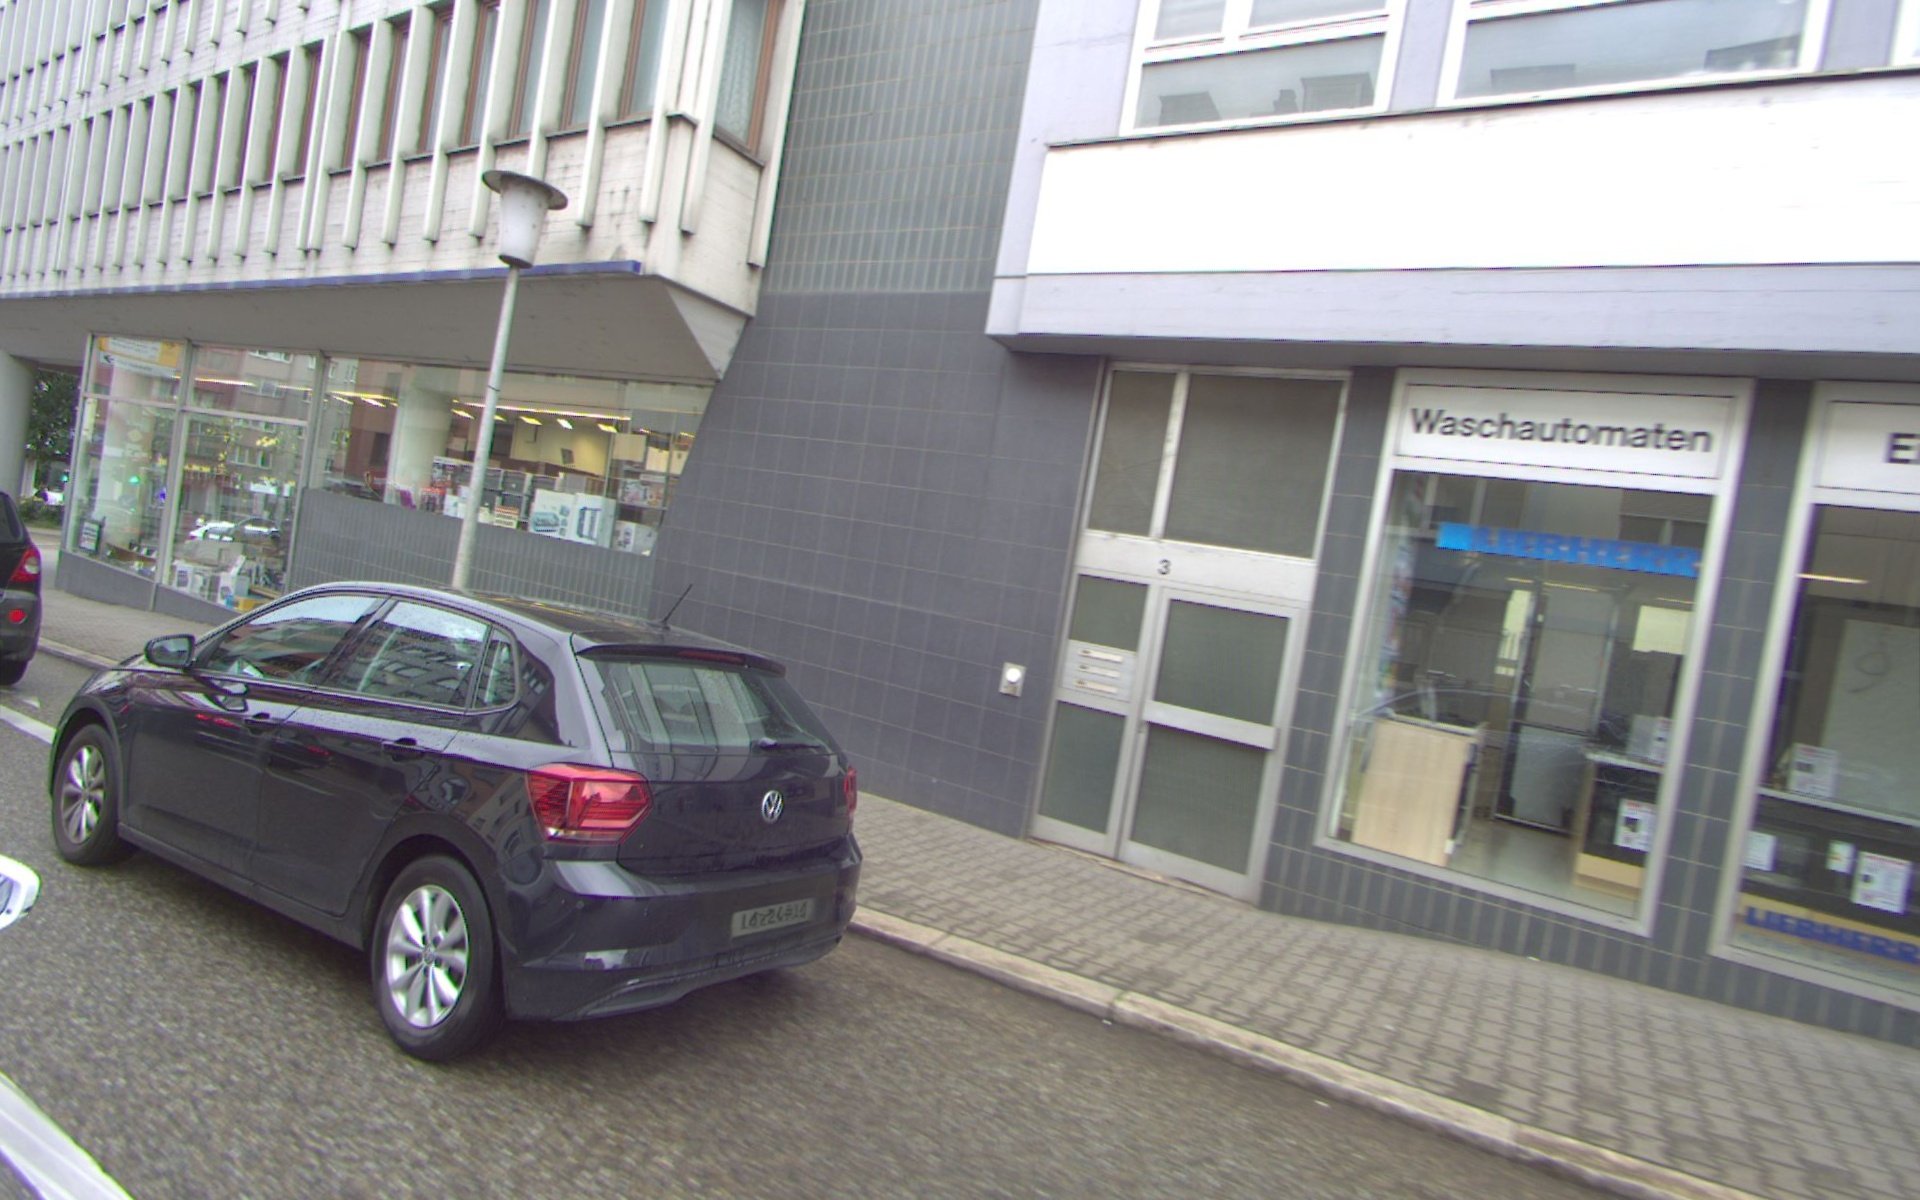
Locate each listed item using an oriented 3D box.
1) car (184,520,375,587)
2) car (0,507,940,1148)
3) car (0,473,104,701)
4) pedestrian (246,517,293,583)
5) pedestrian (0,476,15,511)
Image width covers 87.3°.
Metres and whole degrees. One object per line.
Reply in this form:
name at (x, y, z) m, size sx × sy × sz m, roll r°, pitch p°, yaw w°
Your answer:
car at (-22.392, -1.492, 33.312) m, size 4.780 × 1.512 × 1.850 m, roll 8°, pitch -1°, yaw -17°
car at (-2.281, 0.618, 4.410) m, size 3.932 × 1.493 × 1.694 m, roll 7°, pitch -4°, yaw 30°
car at (-9.460, -0.384, 8.502) m, size 4.430 × 1.713 × 1.903 m, roll 7°, pitch -4°, yaw 31°
pedestrian at (-20.458, -1.467, 29.813) m, size 0.815 × 1.841 × 0.722 m, roll 6°, pitch 2°, yaw 26°
pedestrian at (-51.955, -5.803, 54.405) m, size 0.818 × 1.711 × 1.029 m, roll 15°, pitch 5°, yaw 40°
